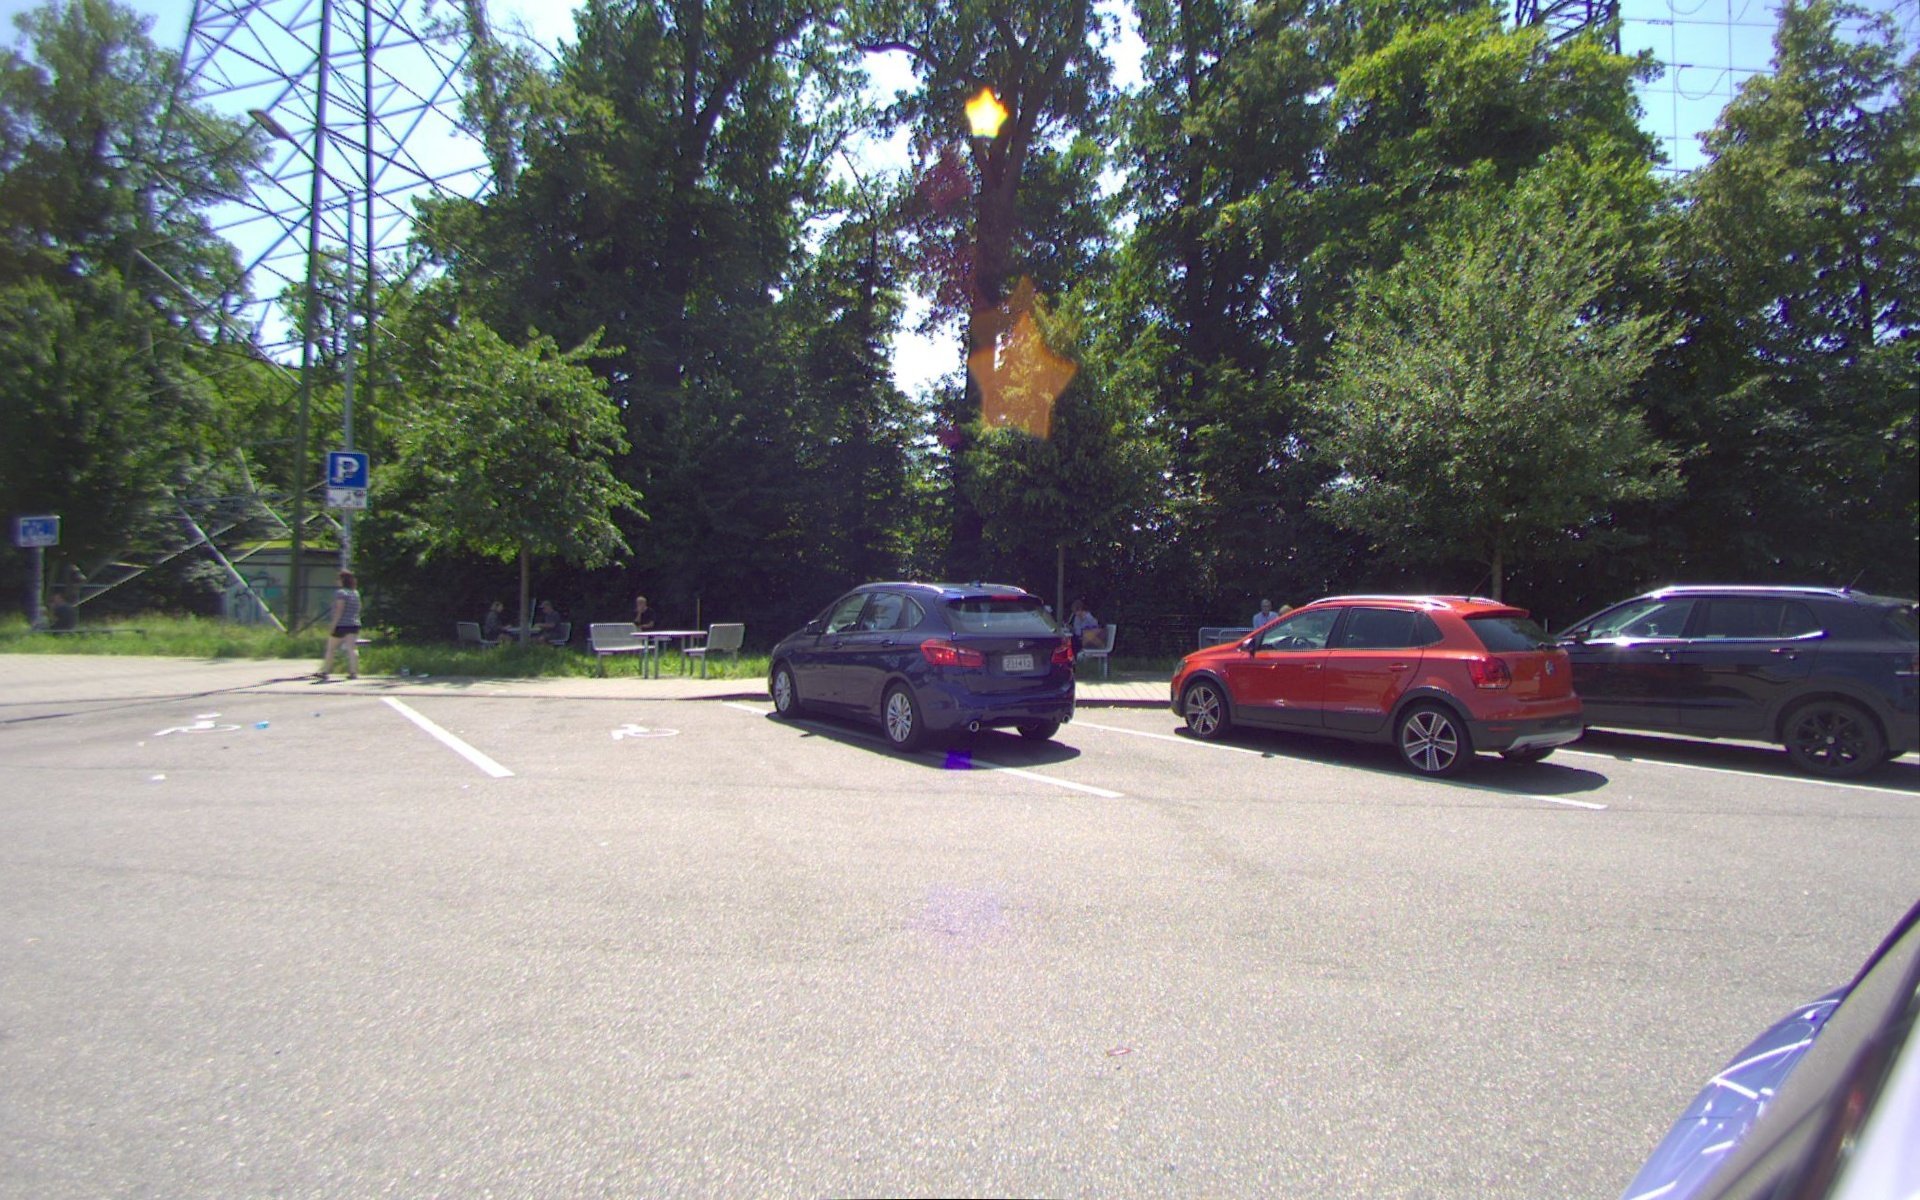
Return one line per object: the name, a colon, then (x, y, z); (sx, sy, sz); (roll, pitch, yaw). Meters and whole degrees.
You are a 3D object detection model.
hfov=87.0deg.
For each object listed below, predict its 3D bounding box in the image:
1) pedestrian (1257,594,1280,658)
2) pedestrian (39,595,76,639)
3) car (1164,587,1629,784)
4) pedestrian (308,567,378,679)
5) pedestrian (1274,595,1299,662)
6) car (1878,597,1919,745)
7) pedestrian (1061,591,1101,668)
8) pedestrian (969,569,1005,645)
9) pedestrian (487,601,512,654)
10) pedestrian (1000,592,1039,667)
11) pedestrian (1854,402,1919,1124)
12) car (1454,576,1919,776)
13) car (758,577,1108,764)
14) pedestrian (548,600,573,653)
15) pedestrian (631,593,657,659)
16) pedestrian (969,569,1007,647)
pedestrian: (5.839, 0.485, 19.137); (0.350, 1.180, 0.384); (0, 0, 8)
pedestrian: (-20.932, 0.391, 23.471); (0.452, 0.987, 0.447); (0, 0, -2)
car: (3.900, 0.628, 9.660); (1.619, 1.487, 3.830); (0, 0, -33)
pedestrian: (-9.561, 0.341, 15.694); (0.709, 1.670, 0.680); (0, 0, 30)
pedestrian: (5.790, 0.497, 17.962); (0.350, 1.180, 0.384); (0, 0, 8)
car: (10.916, 0.696, 9.021); (1.620, 1.420, 3.826); (0, 0, -37)
pedestrian: (2.022, 0.487, 16.868); (0.586, 1.261, 0.498); (0, 0, 16)
pedestrian: (0.587, 0.151, 22.057); (0.567, 1.625, 0.641); (0, 0, 28)
pedestrian: (-10.414, 0.607, 22.871); (0.452, 1.182, 0.447); (0, 0, -34)
pedestrian: (1.009, 0.489, 17.125); (0.586, 1.261, 0.445); (0, 0, 16)
pedestrian: (2.992, 0.449, 2.480); (0.800, 1.974, 0.919); (0, 0, 7)
car: (7.116, 0.586, 9.876); (1.620, 1.575, 3.826); (0, 0, -37)
car: (-0.522, 0.545, 10.800); (1.714, 1.572, 4.347); (0, 1, -33)
pedestrian: (-9.325, 0.608, 23.611); (0.452, 1.209, 0.447); (0, 0, -34)
pedestrian: (-6.666, 0.539, 21.359); (0.438, 1.363, 0.462); (0, 0, -5)
pedestrian: (0.597, 0.158, 21.389); (0.567, 1.625, 0.641); (0, 0, 28)
